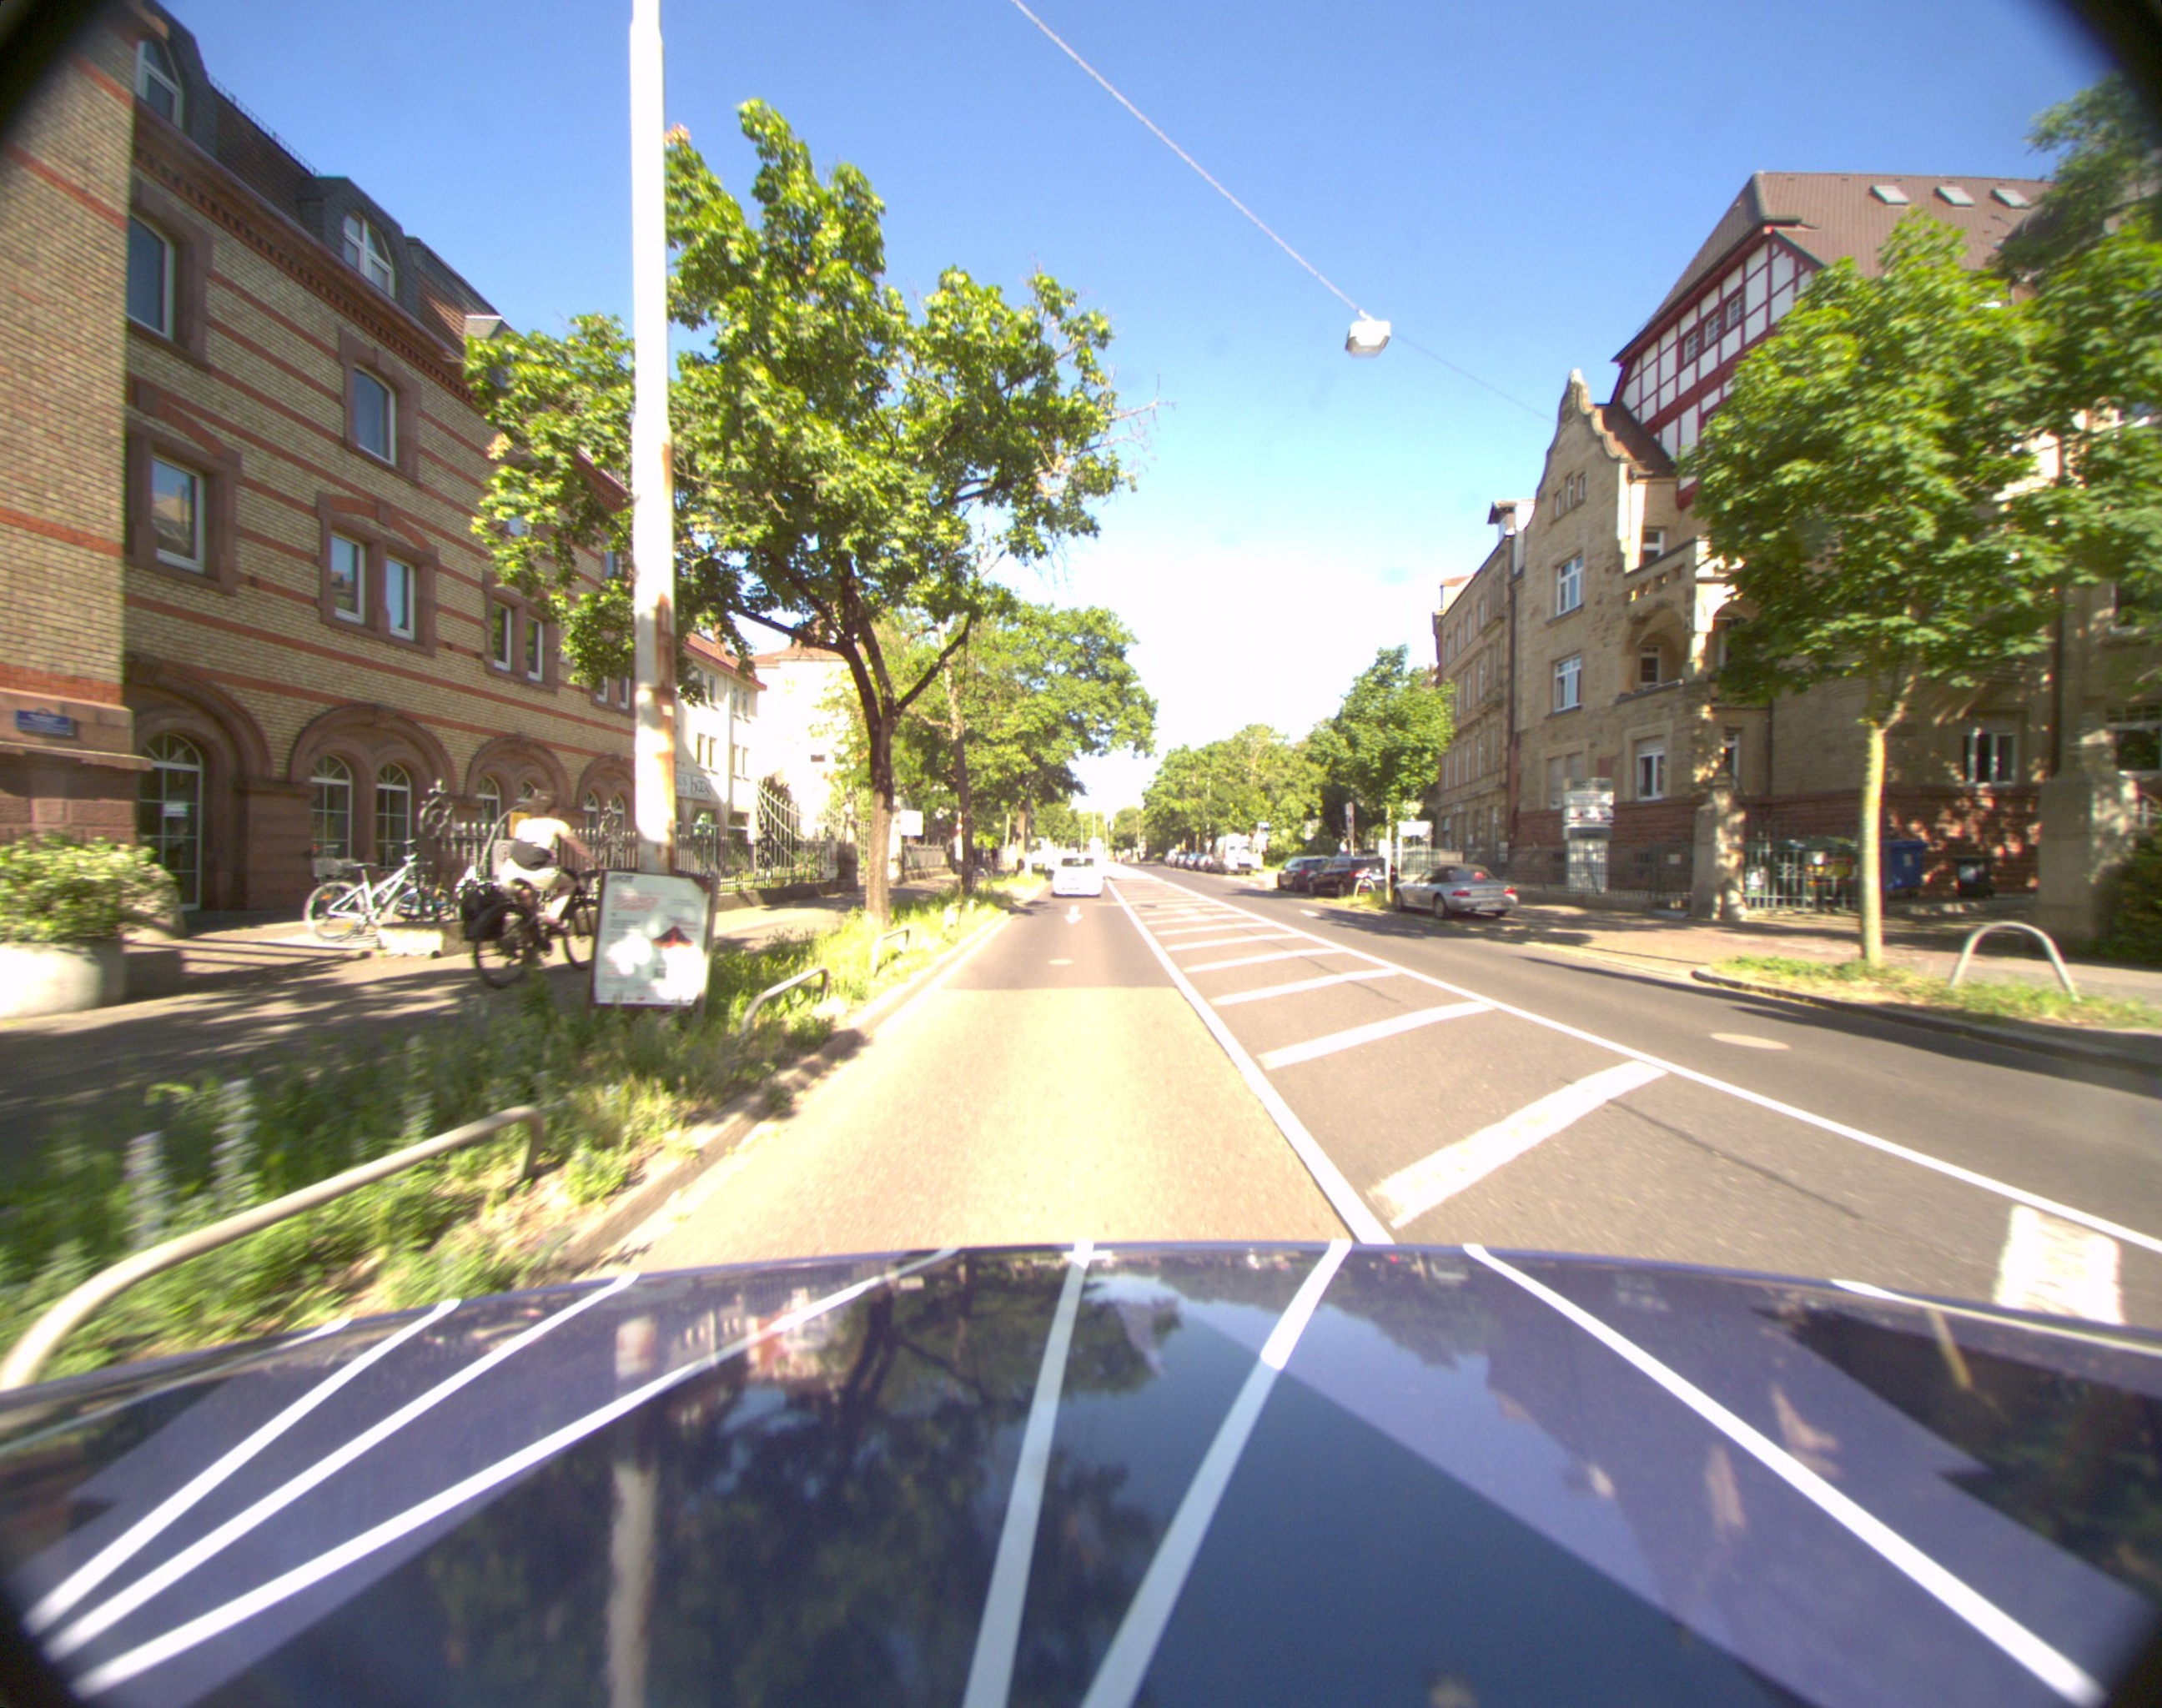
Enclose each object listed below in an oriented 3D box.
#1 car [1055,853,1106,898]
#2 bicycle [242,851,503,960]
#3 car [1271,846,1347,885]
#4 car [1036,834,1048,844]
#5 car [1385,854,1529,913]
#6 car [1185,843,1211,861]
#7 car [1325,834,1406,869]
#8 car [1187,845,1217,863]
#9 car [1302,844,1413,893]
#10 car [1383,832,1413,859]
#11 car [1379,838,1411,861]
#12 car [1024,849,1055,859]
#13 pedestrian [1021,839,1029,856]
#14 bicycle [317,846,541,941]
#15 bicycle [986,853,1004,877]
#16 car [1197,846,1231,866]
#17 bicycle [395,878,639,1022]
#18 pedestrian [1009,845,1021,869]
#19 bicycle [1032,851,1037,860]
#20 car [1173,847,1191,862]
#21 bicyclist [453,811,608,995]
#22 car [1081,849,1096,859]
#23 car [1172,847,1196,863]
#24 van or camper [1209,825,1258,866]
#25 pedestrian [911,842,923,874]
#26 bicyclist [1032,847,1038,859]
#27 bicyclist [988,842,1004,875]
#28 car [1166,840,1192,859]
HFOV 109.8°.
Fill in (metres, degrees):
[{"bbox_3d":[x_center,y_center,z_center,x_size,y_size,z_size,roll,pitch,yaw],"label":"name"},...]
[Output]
[{"bbox_3d":[0.046,0.706,27.183,1.652,1.449,3.897,0,0,3],"label":"car"},{"bbox_3d":[-8.091,0.561,8.762,2.202,1.172,0.687,0,2,-6],"label":"bicycle"},{"bbox_3d":[9.643,0.429,32.496,1.860,1.419,4.719,-4,1,1],"label":"car"},{"bbox_3d":[-6.264,-2.395,122.533,1.847,1.432,4.104,3,0,-4],"label":"car"},{"bbox_3d":[9.245,0.664,19.086,1.682,1.248,4.014,-1,1,1],"label":"car"},{"bbox_3d":[10.960,-0.203,71.340,1.785,1.529,4.557,-2,1,1],"label":"car"},{"bbox_3d":[15.707,-0.147,41.932,4.150,1.660,1.995,-3,0,-33],"label":"car"},{"bbox_3d":[10.164,0.009,63.878,1.785,1.405,4.404,2,0,0],"label":"car"},{"bbox_3d":[9.652,0.453,26.941,1.861,1.485,4.703,-3,1,-4],"label":"car"},{"bbox_3d":[23.916,-0.669,57.257,1.860,1.903,4.458,2,3,25],"label":"car"},{"bbox_3d":[21.794,-0.350,52.716,1.860,1.504,3.535,2,2,25],"label":"car"},{"bbox_3d":[-6.078,0.017,111.864,4.417,1.409,2.047,1,1,1],"label":"car"},{"bbox_3d":[-5.612,-0.670,76.612,0.696,1.649,0.820,3,2,-1],"label":"pedestrian"},{"bbox_3d":[-8.486,0.493,9.968,2.202,1.172,0.687,0,2,-6],"label":"bicycle"},{"bbox_3d":[-4.517,0.564,40.142,0.654,1.169,1.843,3,0,0],"label":"bicycle"},{"bbox_3d":[10.298,0.115,59.208,1.698,1.448,4.662,2,0,-1],"label":"car"},{"bbox_3d":[-5.042,0.790,7.023,0.687,1.022,2.095,0,1,-1],"label":"bicycle"},{"bbox_3d":[-5.103,0.226,58.477,0.749,1.777,0.811,3,1,1],"label":"pedestrian"},{"bbox_3d":[-6.350,0.245,104.700,0.617,1.169,1.918,3,0,-4],"label":"bicycle"},{"bbox_3d":[10.820,0.064,81.641,1.467,1.493,3.958,1,1,0],"label":"car"},{"bbox_3d":[-5.025,0.414,7.008,0.702,1.590,0.955,0,2,-1],"label":"bicyclist"},{"bbox_3d":[1.078,-0.066,112.516,1.924,1.411,4.223,0,1,-4],"label":"car"},{"bbox_3d":[10.403,0.064,77.083,1.594,1.474,4.270,1,1,-3],"label":"car"},{"bbox_3d":[10.661,-0.600,53.482,2.222,2.723,6.087,0,1,0],"label":"van or camper"},{"bbox_3d":[-9.331,0.225,43.228,0.533,1.768,0.541,1,1,-26],"label":"pedestrian"},{"bbox_3d":[-6.334,-0.139,104.690,0.622,1.680,0.820,3,1,-4],"label":"bicyclist"},{"bbox_3d":[-4.501,0.227,40.147,0.647,1.685,0.889,3,0,1],"label":"bicyclist"},{"bbox_3d":[11.152,-0.478,86.983,1.989,2.024,4.873,2,0,-4],"label":"car"}]
